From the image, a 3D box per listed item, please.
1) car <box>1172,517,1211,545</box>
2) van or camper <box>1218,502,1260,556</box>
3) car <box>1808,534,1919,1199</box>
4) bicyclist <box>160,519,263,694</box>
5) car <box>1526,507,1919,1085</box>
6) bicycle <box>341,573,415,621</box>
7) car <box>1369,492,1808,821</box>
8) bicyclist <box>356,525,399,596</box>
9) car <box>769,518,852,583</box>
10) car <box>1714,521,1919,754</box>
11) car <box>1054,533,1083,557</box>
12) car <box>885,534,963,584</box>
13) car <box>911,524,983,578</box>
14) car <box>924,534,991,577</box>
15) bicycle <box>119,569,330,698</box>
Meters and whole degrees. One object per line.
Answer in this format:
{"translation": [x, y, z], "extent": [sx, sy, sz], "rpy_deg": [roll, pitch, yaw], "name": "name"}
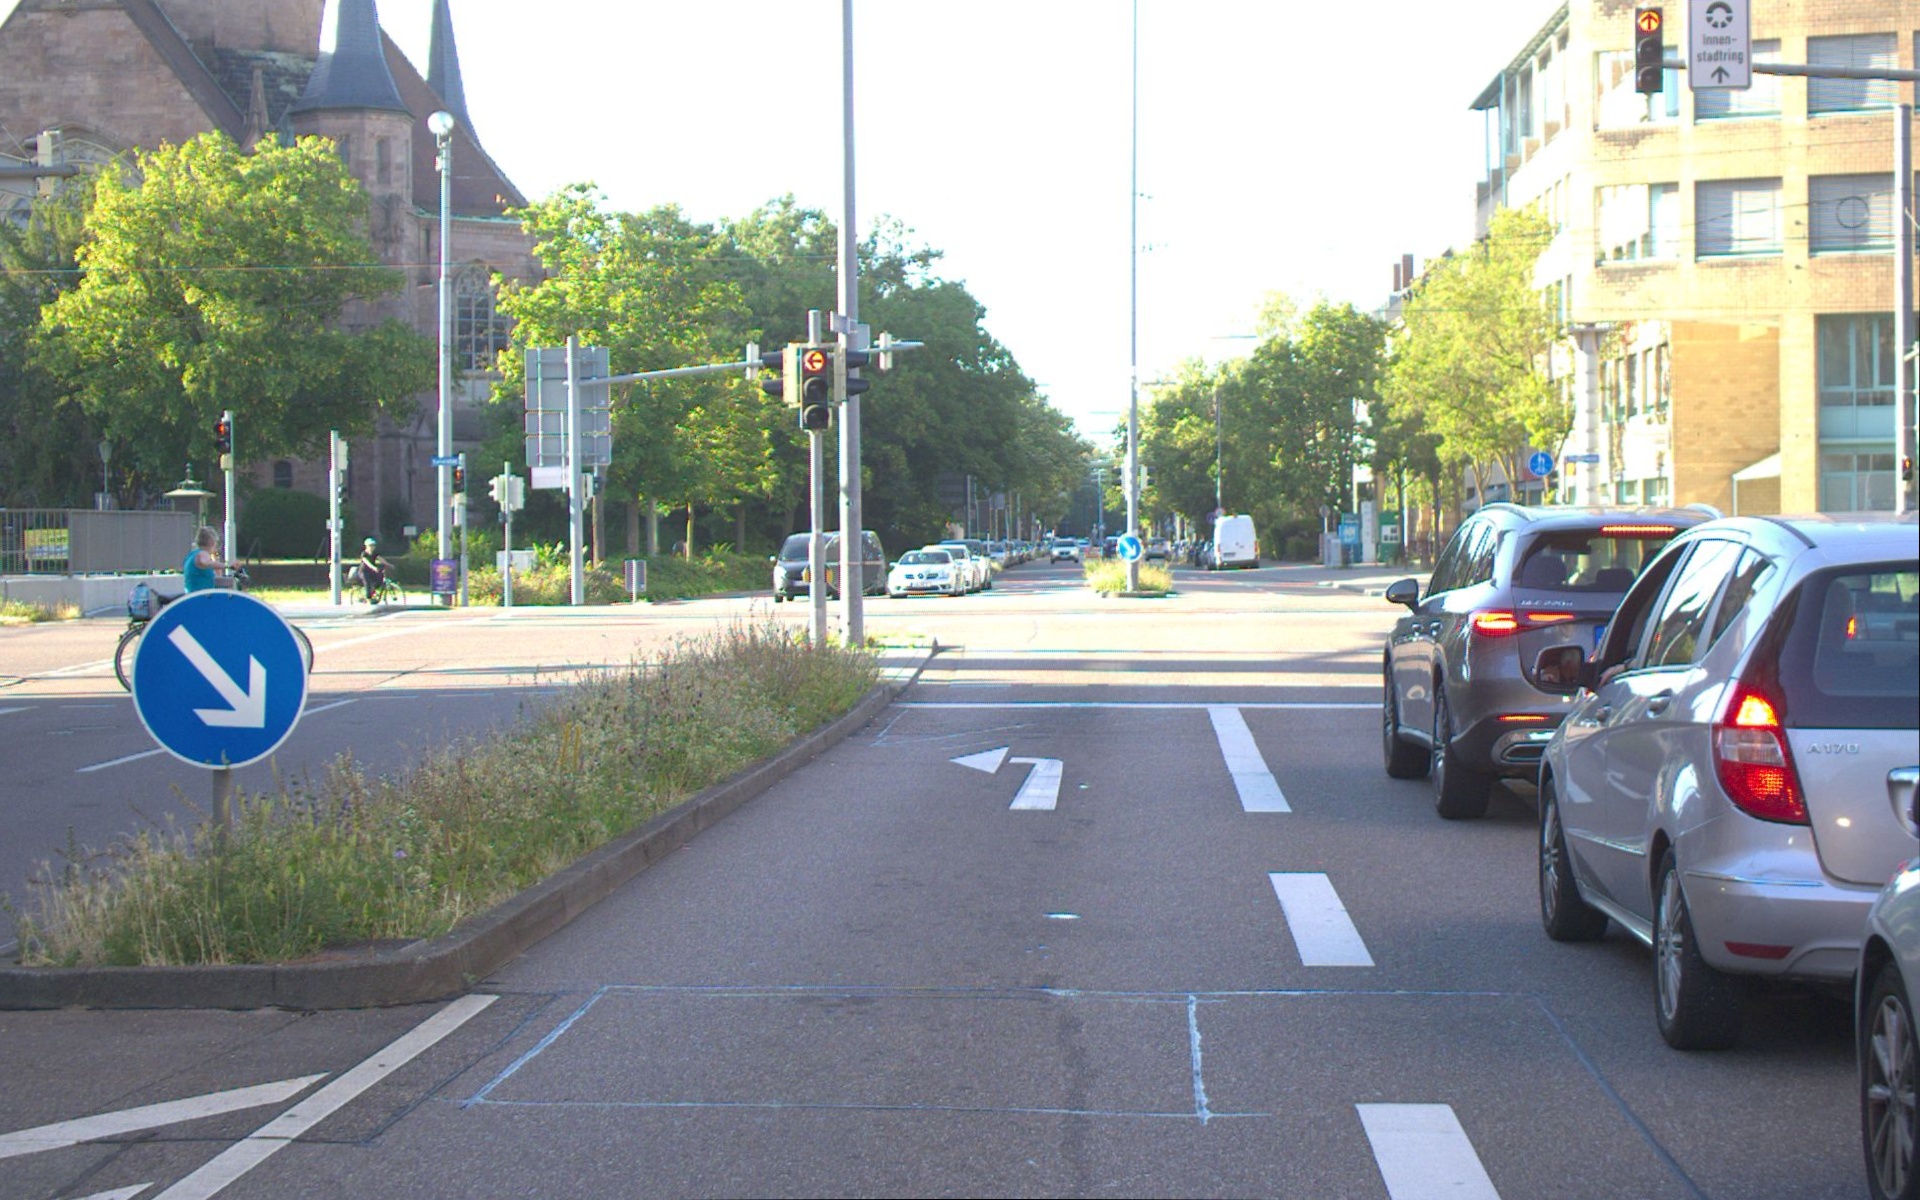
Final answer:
{"translation": [13.476, -4.004, 200.262], "extent": [1.993, 1.587, 4.000], "rpy_deg": [-1, 2, -1], "name": "car"}
{"translation": [13.714, -3.511, 169.228], "extent": [1.994, 2.631, 5.350], "rpy_deg": [-1, 2, 4], "name": "van or camper"}
{"translation": [2.738, 0.665, 5.806], "extent": [1.707, 1.504, 4.309], "rpy_deg": [0, 2, 3], "name": "car"}
{"translation": [-7.225, 0.049, 33.223], "extent": [0.782, 1.654, 0.901], "rpy_deg": [-1, 1, -1], "name": "bicyclist"}
{"translation": [3.005, 0.488, 11.195], "extent": [1.803, 1.563, 3.618], "rpy_deg": [-1, 2, 2], "name": "car"}
{"translation": [-13.932, -0.080, 82.322], "extent": [1.677, 1.135, 0.646], "rpy_deg": [0, 2, 28], "name": "bicycle"}
{"translation": [3.400, 0.222, 19.385], "extent": [1.784, 1.627, 4.479], "rpy_deg": [-1, 2, 2], "name": "car"}
{"translation": [-13.946, -0.948, 82.307], "extent": [0.781, 1.688, 0.640], "rpy_deg": [0, 1, 28], "name": "bicyclist"}
{"translation": [-3.932, -1.337, 91.029], "extent": [1.780, 1.641, 4.000], "rpy_deg": [0, 2, 3], "name": "car"}
{"translation": [6.273, 0.200, 23.417], "extent": [1.585, 1.441, 3.647], "rpy_deg": [1, 2, 2], "name": "car"}
{"translation": [6.919, -3.488, 218.611], "extent": [1.780, 1.444, 4.000], "rpy_deg": [0, 2, 3], "name": "car"}
{"translation": [-0.927, -1.103, 90.323], "extent": [1.780, 1.232, 4.000], "rpy_deg": [0, 2, 3], "name": "car"}
{"translation": [-0.347, -1.395, 96.870], "extent": [1.780, 1.459, 4.000], "rpy_deg": [0, 2, 3], "name": "car"}
{"translation": [-0.057, -1.359, 104.131], "extent": [1.780, 1.232, 4.000], "rpy_deg": [0, 2, 3], "name": "car"}
{"translation": [-6.994, 0.313, 32.741], "extent": [1.827, 1.184, 0.734], "rpy_deg": [-1, 1, 2], "name": "bicycle"}
